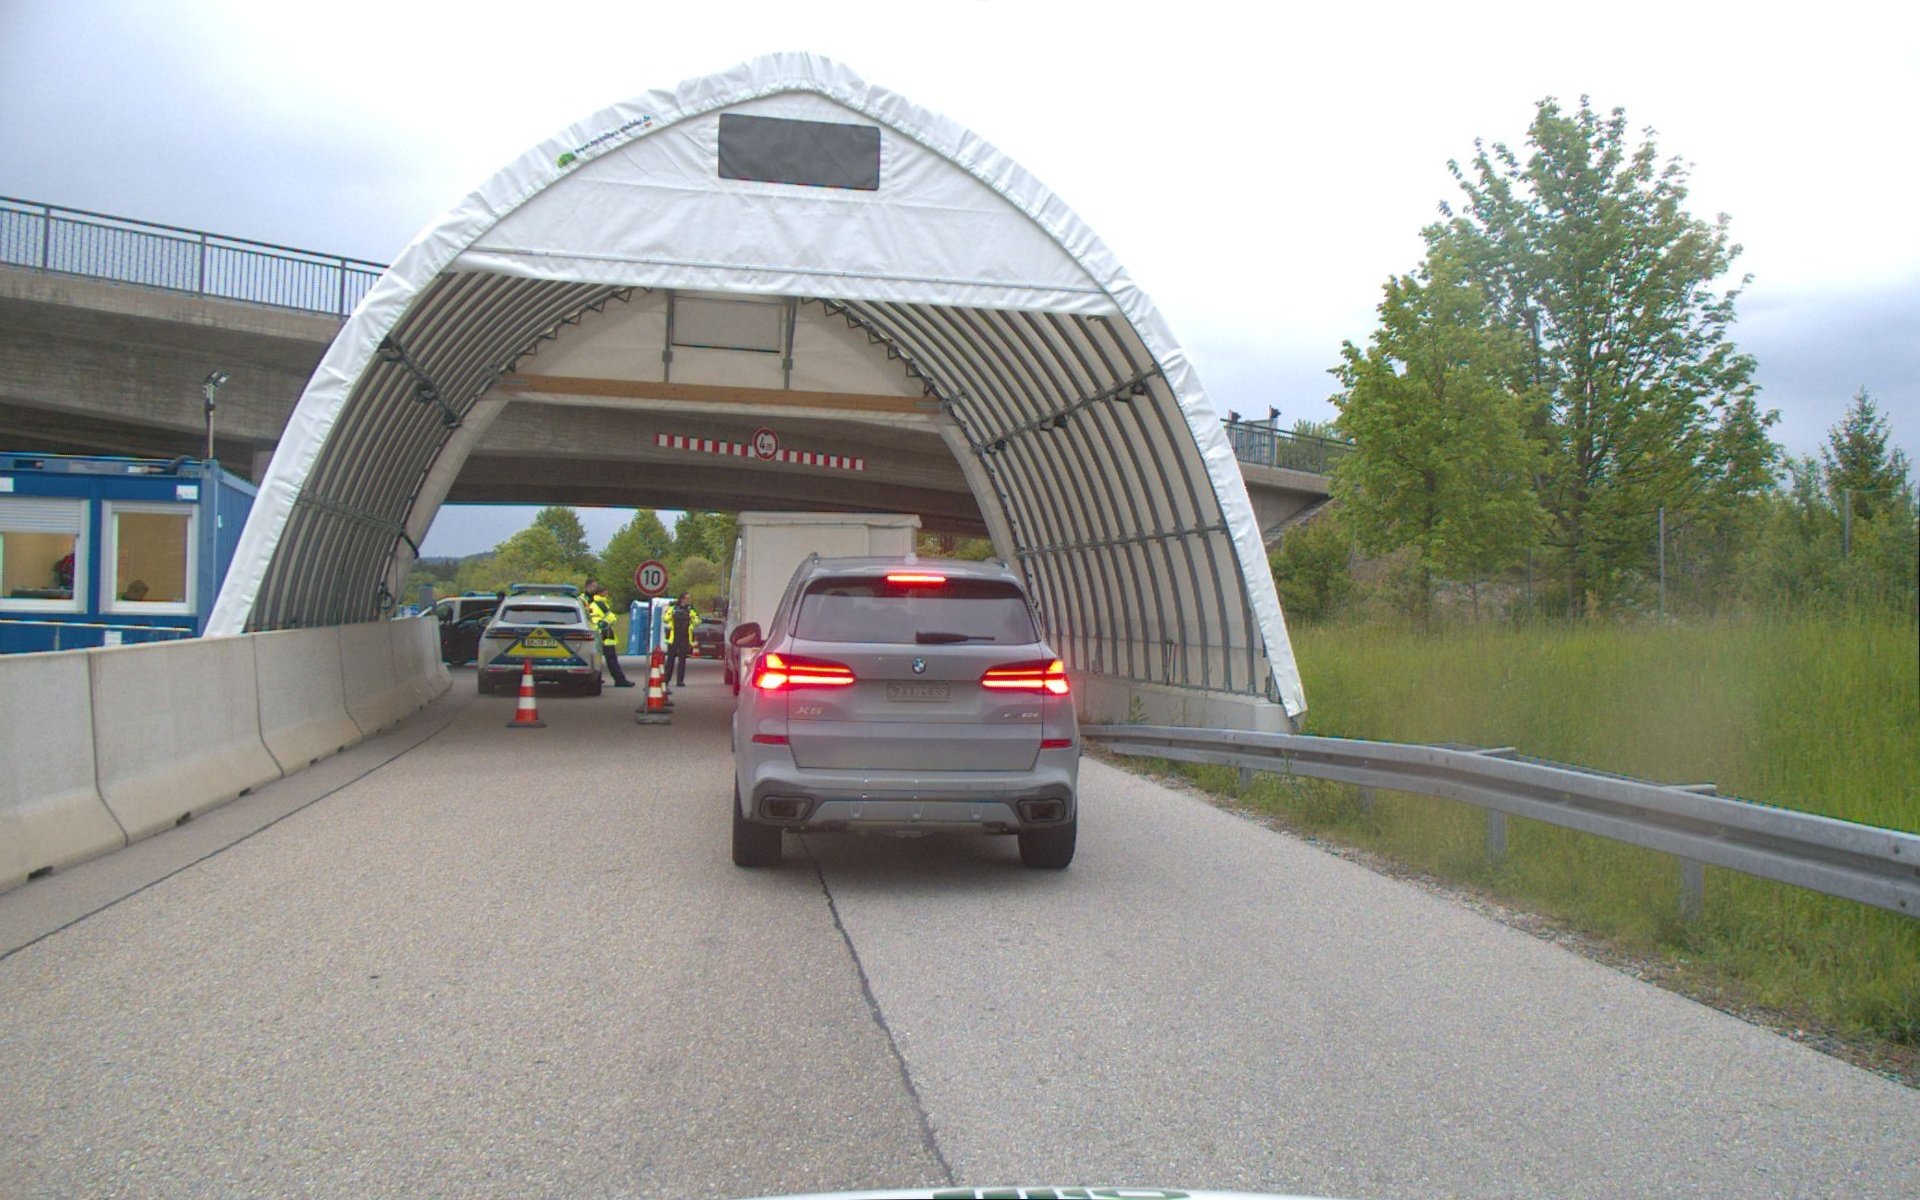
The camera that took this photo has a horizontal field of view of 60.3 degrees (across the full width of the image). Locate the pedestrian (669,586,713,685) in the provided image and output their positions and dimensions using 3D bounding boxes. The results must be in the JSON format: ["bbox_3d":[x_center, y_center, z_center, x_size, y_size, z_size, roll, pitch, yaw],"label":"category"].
[{"bbox_3d":[-4.831,0.634,29.665,0.765,1.752,0.755,0,-1,-10],"label":"pedestrian"}]

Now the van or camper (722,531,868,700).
[{"bbox_3d":[-2.911,0.253,28.005,2.065,2.563,5.538,0,0,-10],"label":"van or camper"}]

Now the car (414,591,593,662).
[{"bbox_3d":[-13.396,0.770,48.689,4.703,2.049,1.842,0,-1,7],"label":"car"}]

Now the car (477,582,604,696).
[{"bbox_3d":[-6.750,0.592,26.620,1.846,1.675,3.984,0,0,-15],"label":"car"}]

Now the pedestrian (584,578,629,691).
[{"bbox_3d":[-6.166,0.594,28.814,0.736,1.952,0.760,0,-1,-15],"label":"pedestrian"}]

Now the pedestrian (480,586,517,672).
[{"bbox_3d":[-11.105,0.683,39.780,0.686,2.049,0.692,0,-1,-1],"label":"pedestrian"}]

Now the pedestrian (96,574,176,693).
[{"bbox_3d":[-9.843,0.396,19.771,0.597,1.397,0.628,0,-1,8],"label":"pedestrian"}]

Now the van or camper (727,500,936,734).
[{"bbox_3d":[-1.885,0.209,21.800,2.189,2.597,6.595,0,0,-10],"label":"van or camper"}]

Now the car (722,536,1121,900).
[{"bbox_3d":[-0.456,0.595,10.307,1.957,1.796,3.991,0,0,-9],"label":"car"}]

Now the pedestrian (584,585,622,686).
[{"bbox_3d":[-6.419,0.633,29.756,0.597,1.784,0.665,0,-1,-6],"label":"pedestrian"}]

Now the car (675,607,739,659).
[{"bbox_3d":[-9.003,1.138,58.590,1.959,1.752,3.883,0,0,-13],"label":"car"}]
